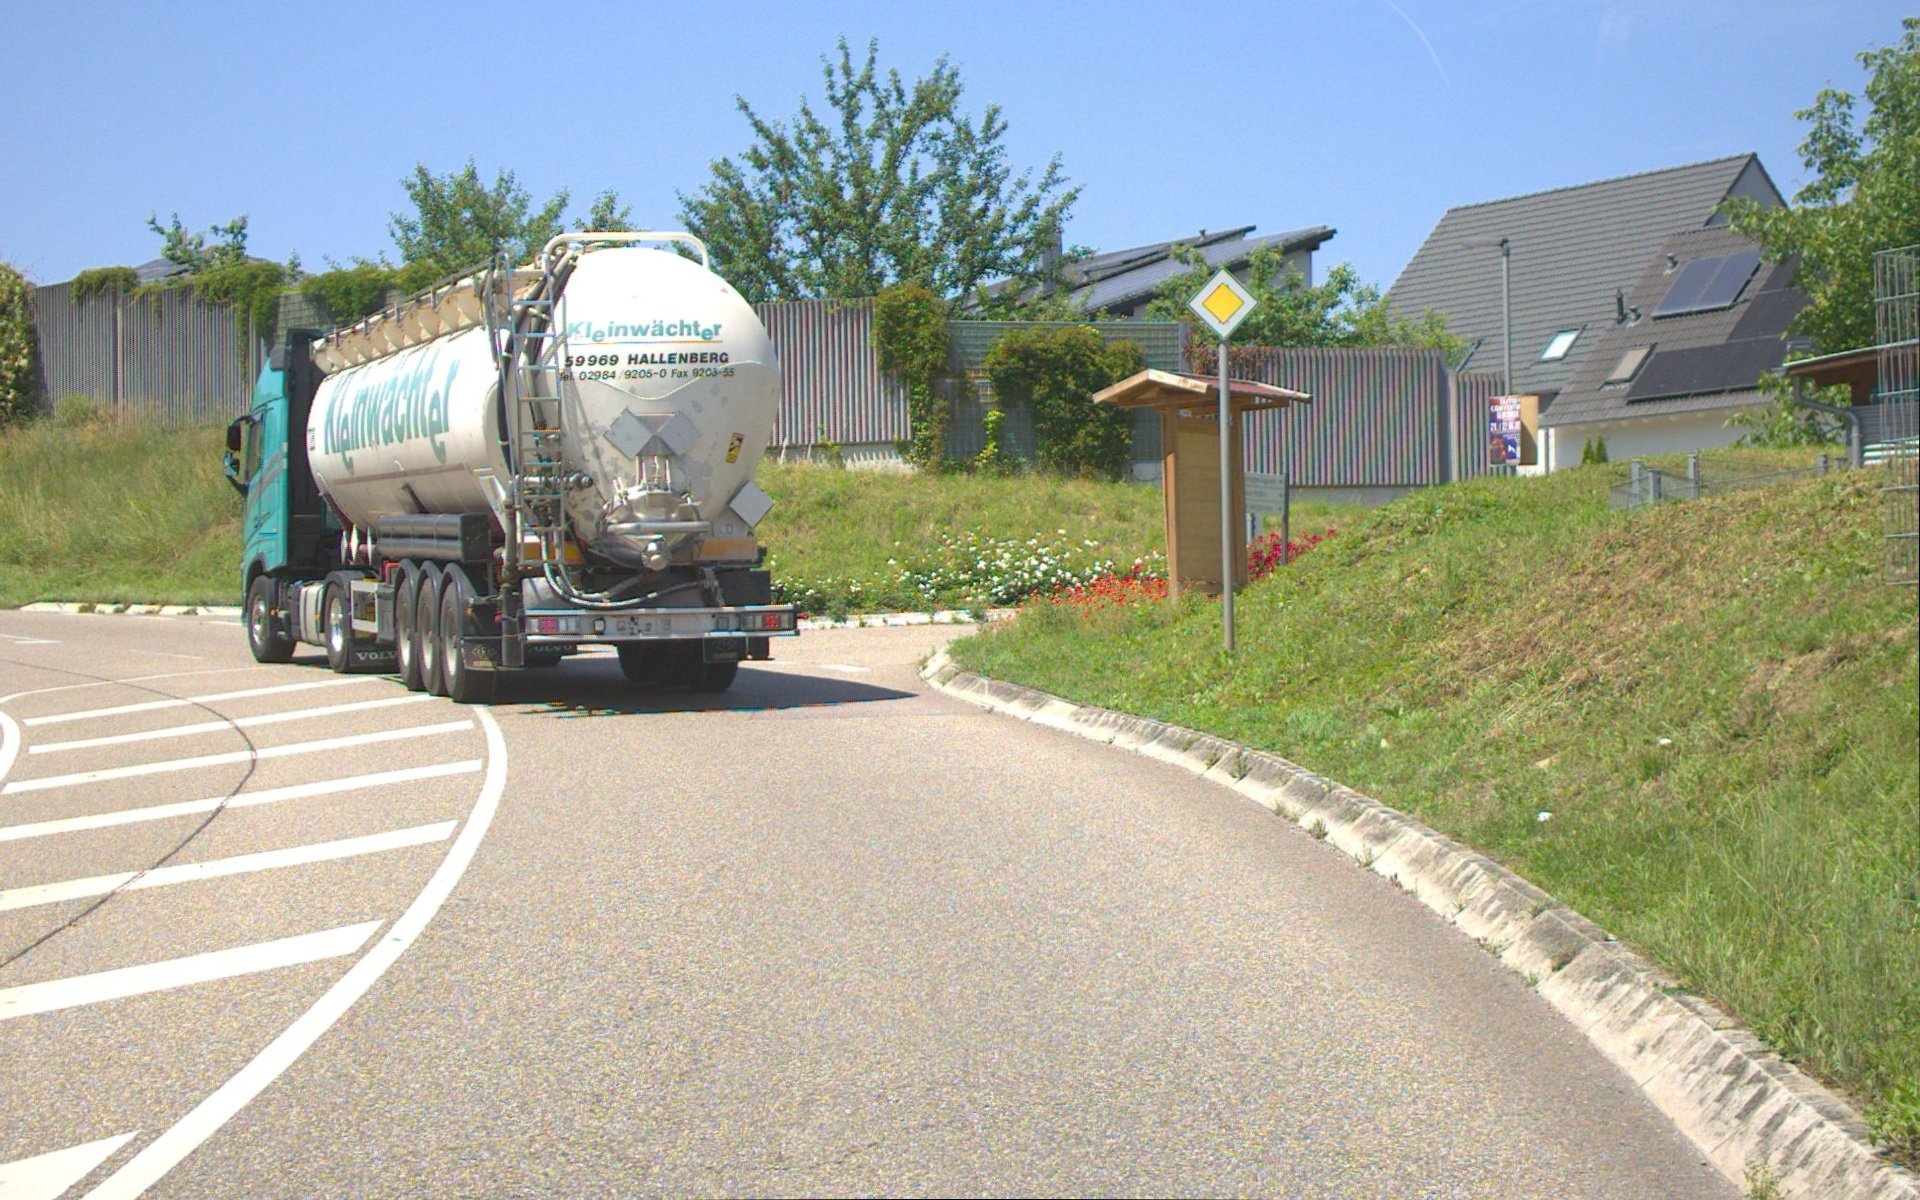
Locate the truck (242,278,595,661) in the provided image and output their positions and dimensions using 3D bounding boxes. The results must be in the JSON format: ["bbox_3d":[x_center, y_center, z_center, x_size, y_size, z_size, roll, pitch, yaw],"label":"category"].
[{"bbox_3d":[-6.319,-1.427,39.133,2.726,3.916,7.265,-2,1,-18],"label":"truck"}]

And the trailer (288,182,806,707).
[{"bbox_3d":[-4.399,-1.461,33.375,2.660,4.174,11.908,-2,2,-18],"label":"trailer"}]
